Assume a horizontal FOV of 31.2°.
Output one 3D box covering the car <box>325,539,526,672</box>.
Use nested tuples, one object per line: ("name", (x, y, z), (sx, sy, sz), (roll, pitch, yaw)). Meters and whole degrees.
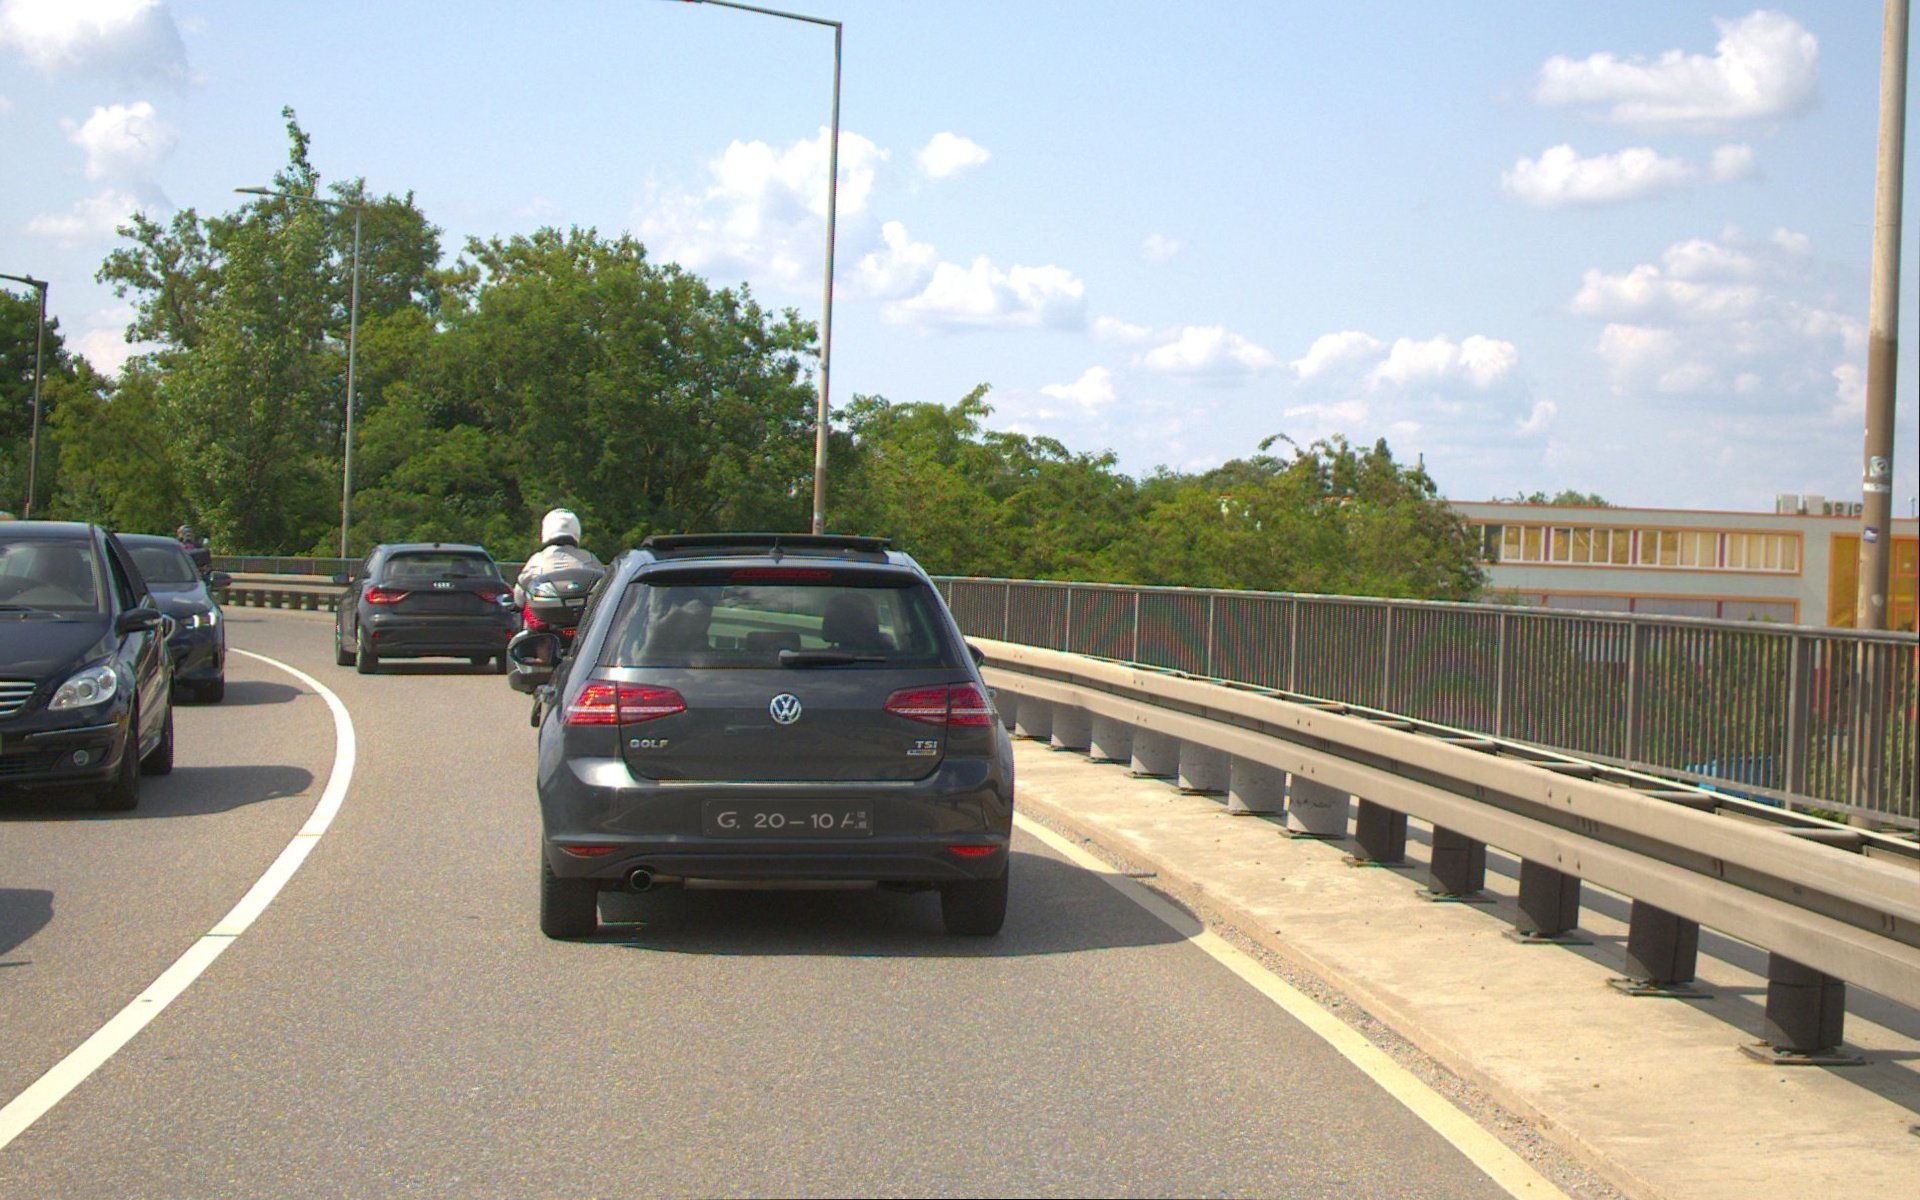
("car", (-5.921, 0.058, 37.798), (1.681, 1.383, 3.740), (0, 0, -17))

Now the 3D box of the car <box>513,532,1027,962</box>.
("car", (-0.898, 0.487, 13.844), (1.642, 1.474, 3.873), (1, 1, -9))

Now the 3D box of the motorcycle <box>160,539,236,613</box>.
("motorcycle", (-13.265, -0.427, 59.794), (0.887, 1.243, 2.400), (0, 1, -22))

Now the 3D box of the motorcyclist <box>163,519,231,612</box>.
("motorcyclist", (-13.310, -0.611, 59.929), (0.965, 1.590, 1.125), (1, 1, -22))

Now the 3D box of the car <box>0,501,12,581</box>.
("car", (-18.264, -1.052, 62.133), (1.876, 1.397, 3.887), (-1, 1, -19))

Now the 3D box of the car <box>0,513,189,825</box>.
("car", (-5.462, 0.319, 19.694), (1.683, 1.591, 4.284), (-1, 1, -8))

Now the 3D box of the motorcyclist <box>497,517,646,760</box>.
("motorcyclist", (-2.671, 0.249, 23.575), (0.965, 1.614, 1.125), (1, 1, -7))

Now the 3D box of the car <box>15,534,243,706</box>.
("car", (-7.627, 0.133, 31.399), (1.876, 1.437, 3.888), (-1, 1, -15))

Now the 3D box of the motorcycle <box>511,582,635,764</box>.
("motorcycle", (-2.649, 0.467, 23.387), (0.789, 1.128, 2.400), (1, 1, -7))
